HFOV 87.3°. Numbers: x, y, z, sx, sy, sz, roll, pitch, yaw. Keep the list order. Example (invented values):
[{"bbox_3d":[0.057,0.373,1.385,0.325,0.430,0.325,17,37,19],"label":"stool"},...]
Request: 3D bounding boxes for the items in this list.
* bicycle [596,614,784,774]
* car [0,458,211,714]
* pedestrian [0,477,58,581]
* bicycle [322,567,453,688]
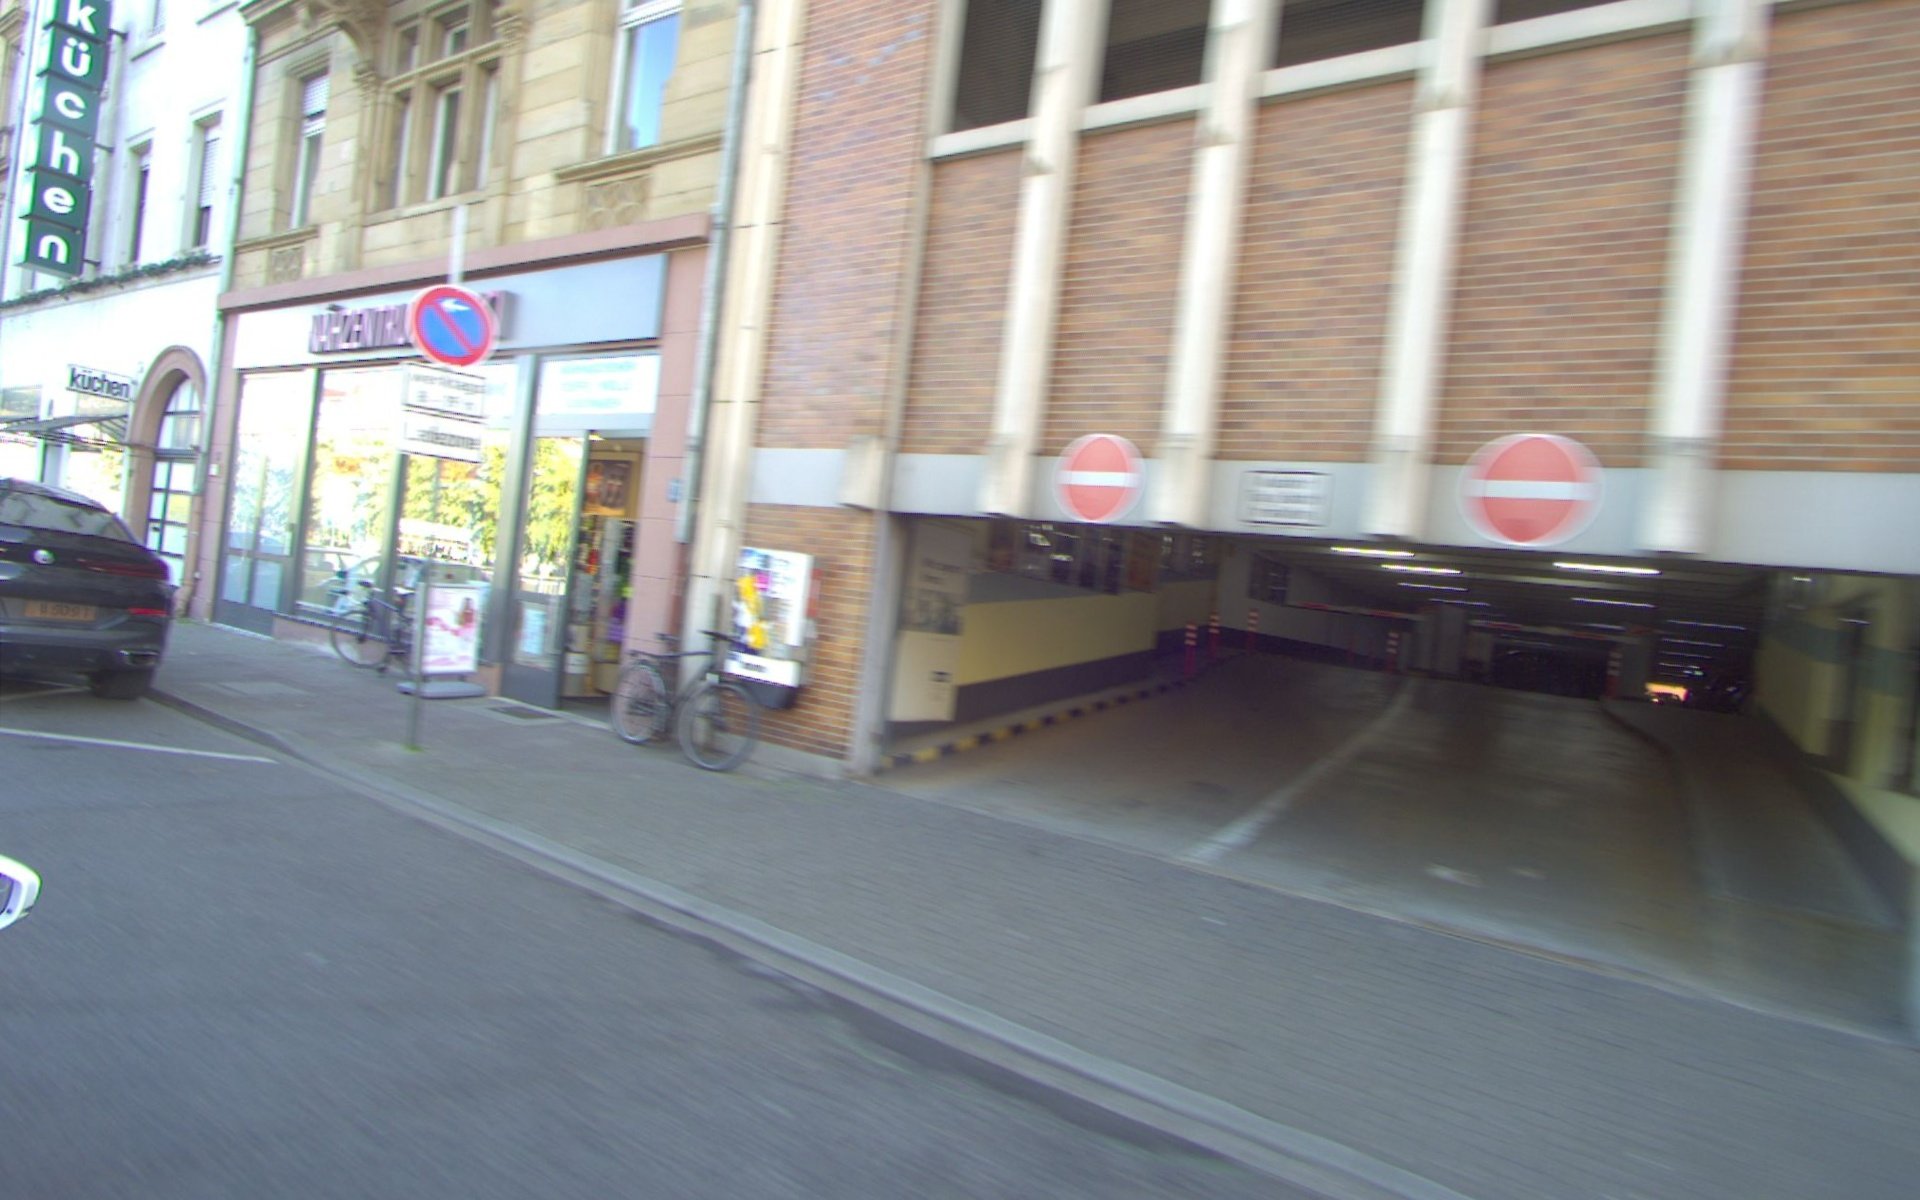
[{"bbox_3d":[-2.294,0.742,8.421,1.762,1.058,0.358,7,2,33],"label":"bicycle"},{"bbox_3d":[-8.508,-0.330,8.429,4.746,1.745,1.977,7,-2,34],"label":"car"},{"bbox_3d":[-16.117,-1.216,17.239,0.580,1.696,0.800,7,2,36],"label":"pedestrian"},{"bbox_3d":[-6.332,0.275,11.075,1.910,1.099,0.358,7,2,33],"label":"bicycle"}]
